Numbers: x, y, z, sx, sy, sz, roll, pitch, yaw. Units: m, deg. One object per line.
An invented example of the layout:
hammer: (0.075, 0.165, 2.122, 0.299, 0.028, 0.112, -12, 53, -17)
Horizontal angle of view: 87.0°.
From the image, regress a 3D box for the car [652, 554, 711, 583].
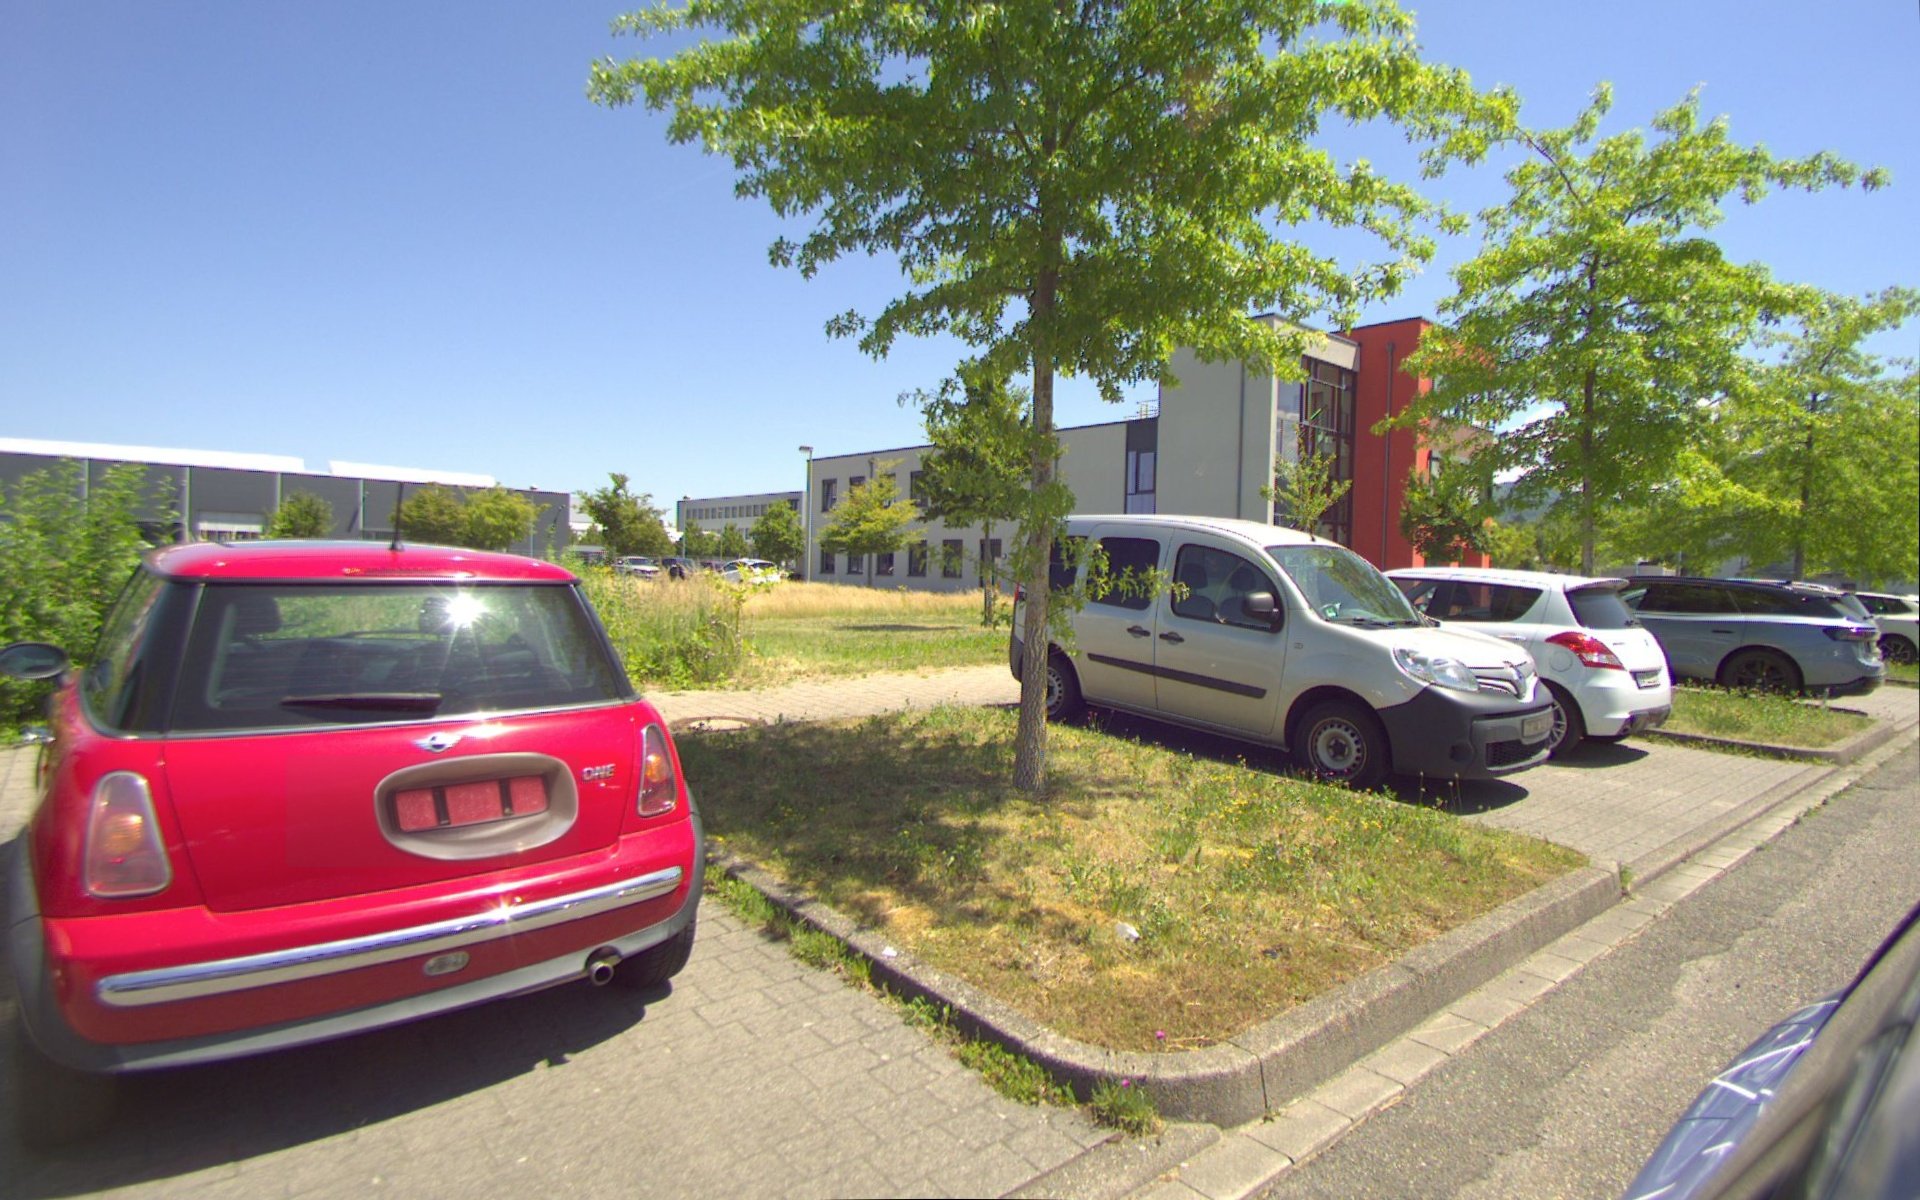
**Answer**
car: (-16.004, -1.828, 58.038, 1.689, 1.528, 3.995, 0, 3, -41)

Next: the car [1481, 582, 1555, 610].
car: (33.674, -0.289, 61.137, 1.632, 1.519, 3.621, -3, 4, -43)

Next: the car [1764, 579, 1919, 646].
car: (25.951, 0.342, 29.070, 1.741, 1.670, 4.122, 1, 2, -38)

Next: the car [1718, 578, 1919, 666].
car: (18.443, 0.433, 21.074, 1.745, 1.572, 3.849, 2, 2, -35)

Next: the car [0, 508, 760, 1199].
car: (-2.384, 0.426, 3.770, 1.724, 1.434, 3.466, 0, 4, -40)

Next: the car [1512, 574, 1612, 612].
car: (30.648, -0.373, 51.617, 1.778, 1.797, 3.995, 3, -1, -40)

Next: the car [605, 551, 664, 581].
car: (-18.222, -1.888, 56.522, 1.689, 1.528, 3.995, 0, 3, -41)

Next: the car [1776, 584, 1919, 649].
car: (24.268, 0.441, 26.945, 1.581, 1.481, 3.629, 1, 3, -38)

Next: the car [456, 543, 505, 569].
car: (-29.063, -2.682, 61.308, 1.689, 1.470, 3.996, 0, 3, -40)

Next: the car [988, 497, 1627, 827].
car: (2.351, 0.194, 7.939, 1.763, 1.852, 4.416, 0, 4, -39)

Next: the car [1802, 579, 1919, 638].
car: (27.964, 0.285, 30.185, 1.695, 1.508, 4.011, 1, 4, -36)

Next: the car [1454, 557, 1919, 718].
car: (9.424, 0.337, 13.470, 1.882, 1.579, 4.723, 0, 4, -44)

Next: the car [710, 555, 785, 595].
car: (-8.856, -1.073, 42.072, 1.689, 1.528, 3.331, 0, 3, -40)

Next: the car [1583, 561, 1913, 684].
car: (13.078, 0.280, 17.023, 1.663, 1.644, 4.058, 0, 4, -39)

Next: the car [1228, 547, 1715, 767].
car: (4.537, 0.349, 9.412, 1.646, 1.521, 3.641, 0, 4, -39)

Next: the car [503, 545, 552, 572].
car: (-26.921, -2.592, 62.897, 1.689, 1.528, 3.996, 0, 3, -40)
